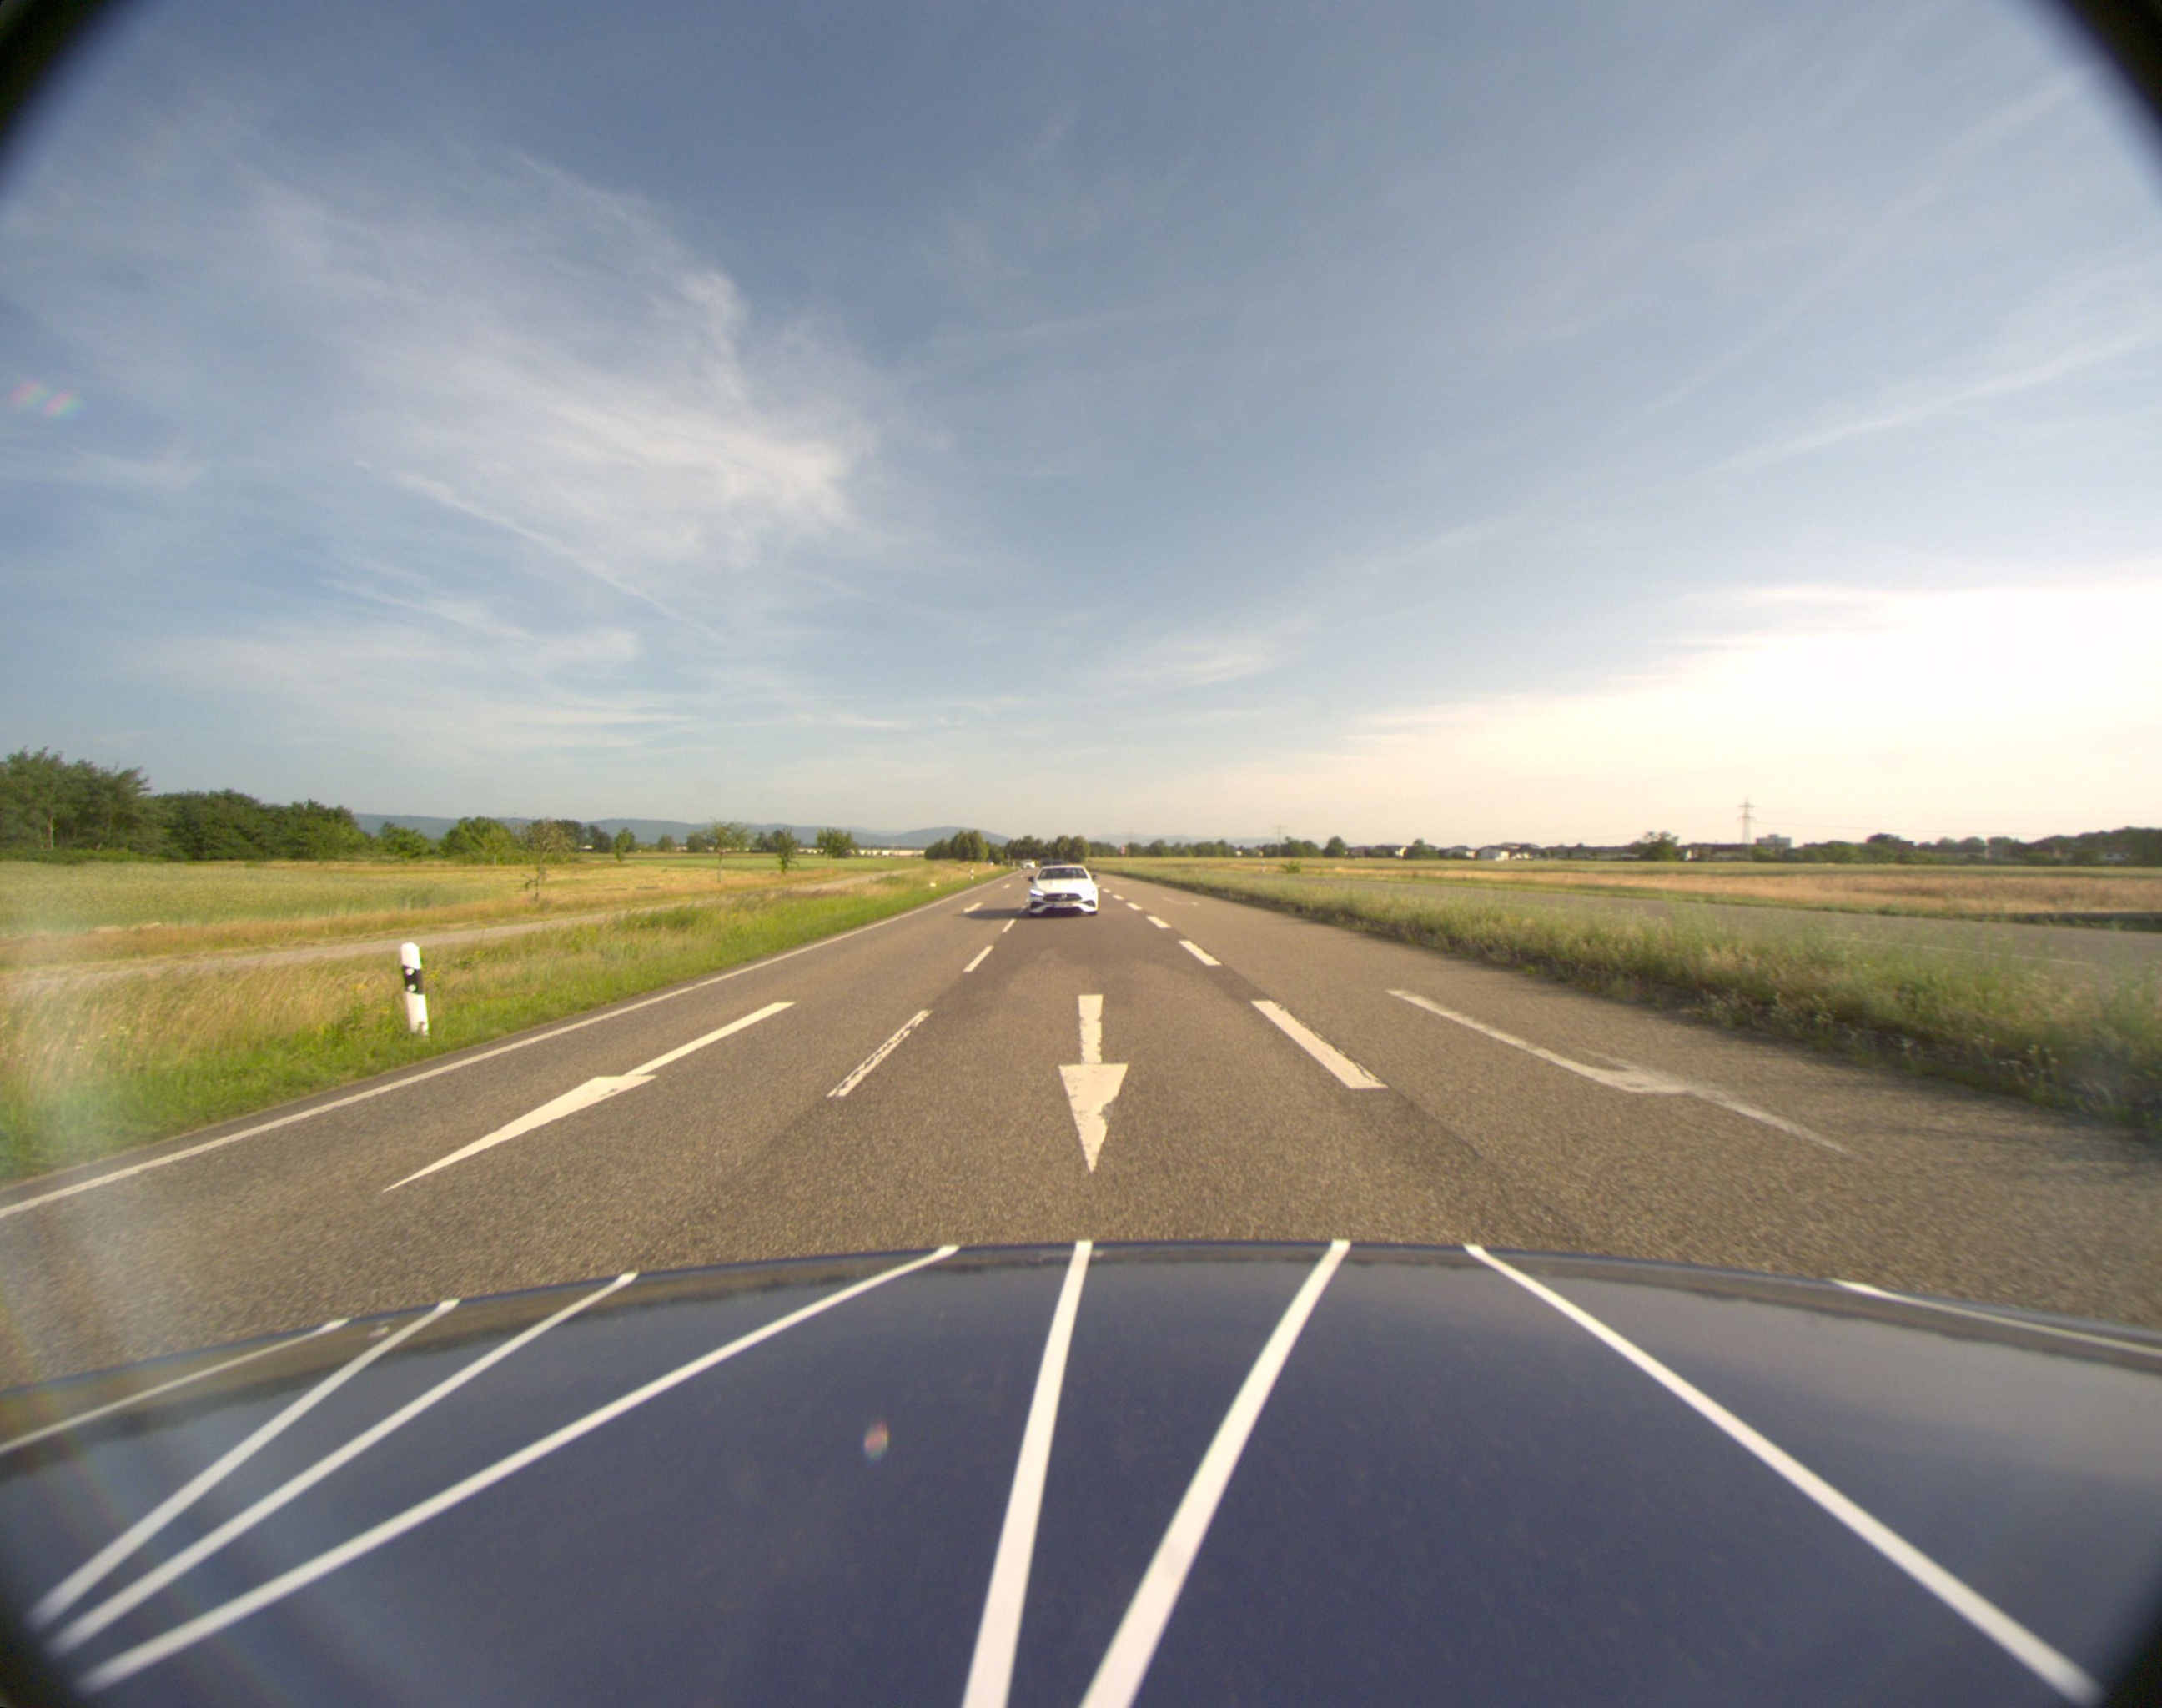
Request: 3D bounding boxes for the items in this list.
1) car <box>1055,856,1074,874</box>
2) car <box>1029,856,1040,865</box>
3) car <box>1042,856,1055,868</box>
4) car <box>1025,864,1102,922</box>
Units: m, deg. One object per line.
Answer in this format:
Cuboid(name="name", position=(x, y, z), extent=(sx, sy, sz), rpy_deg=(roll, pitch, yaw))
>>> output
Cuboid(name="car", position=(-1.429, 0.985, 66.718), extent=(1.584, 1.496, 3.661), rpy_deg=(-1, 0, 0))
Cuboid(name="car", position=(-7.834, 1.126, 127.151), extent=(1.557, 1.392, 4.035), rpy_deg=(-1, 0, 0))
Cuboid(name="car", position=(-4.202, 1.024, 99.543), extent=(1.557, 1.550, 3.049), rpy_deg=(-1, 0, 0))
Cuboid(name="car", position=(-0.450, 1.037, 21.615), extent=(1.941, 1.389, 3.918), rpy_deg=(-2, 0, 0))
